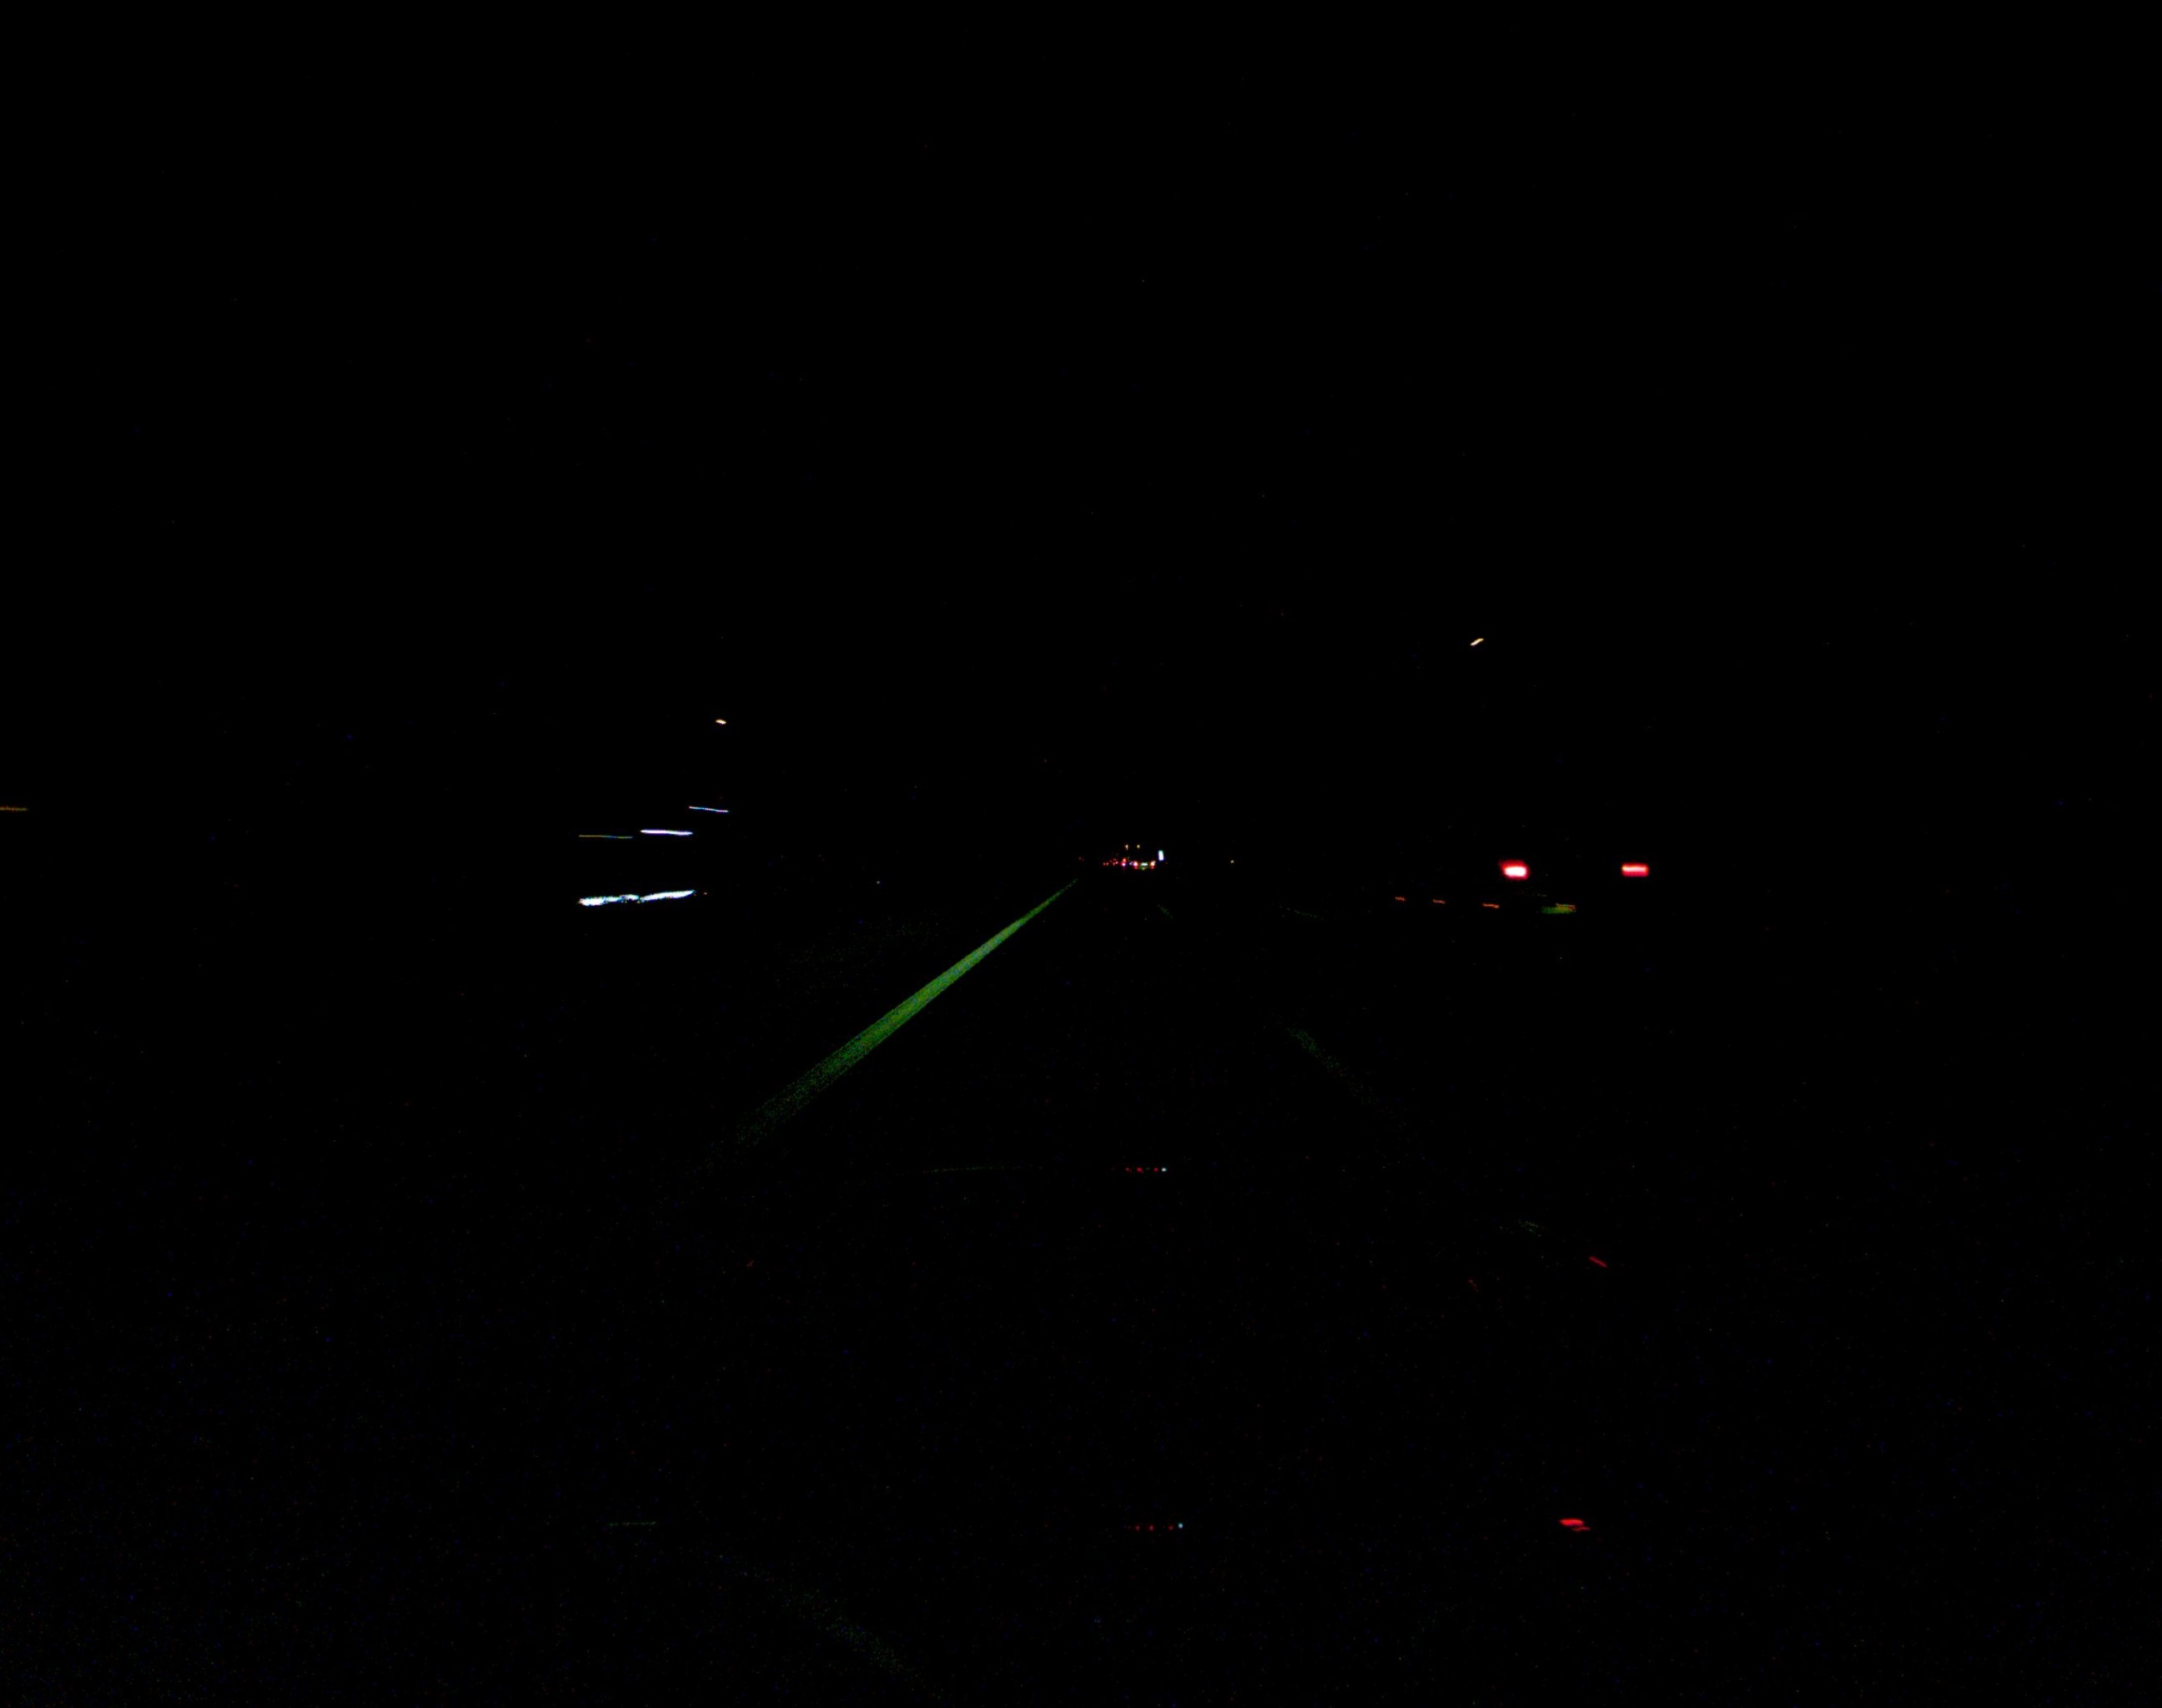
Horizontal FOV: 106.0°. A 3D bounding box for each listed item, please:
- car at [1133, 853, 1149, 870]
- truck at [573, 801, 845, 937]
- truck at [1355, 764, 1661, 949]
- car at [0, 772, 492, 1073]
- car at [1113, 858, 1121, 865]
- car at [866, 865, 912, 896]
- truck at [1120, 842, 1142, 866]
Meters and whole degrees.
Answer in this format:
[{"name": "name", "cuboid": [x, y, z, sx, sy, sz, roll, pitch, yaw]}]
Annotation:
[{"name": "car", "cuboid": [5.334, 0.662, 72.645, 1.341, 1.387, 3.504, 0, 1, 3]}, {"name": "truck", "cuboid": [-14.750, 0.302, 35.485, 3.234, 4.488, 17.448, 0, 1, 2]}, {"name": "truck", "cuboid": [7.446, 0.104, 15.517, 2.069, 2.691, 7.308, 0, -1, 1]}, {"name": "car", "cuboid": [-8.296, 0.441, 6.302, 2.200, 2.013, 6.948, 0, 1, 2]}, {"name": "car", "cuboid": [8.226, 1.818, 187.439, 1.813, 1.466, 4.251, 0, 1, 3]}, {"name": "car", "cuboid": [-10.987, 1.501, 46.835, 1.628, 1.587, 4.001, 0, 1, 1]}, {"name": "truck", "cuboid": [7.277, -0.052, 118.788, 3.032, 3.324, 10.149, 0, 1, 2]}]
